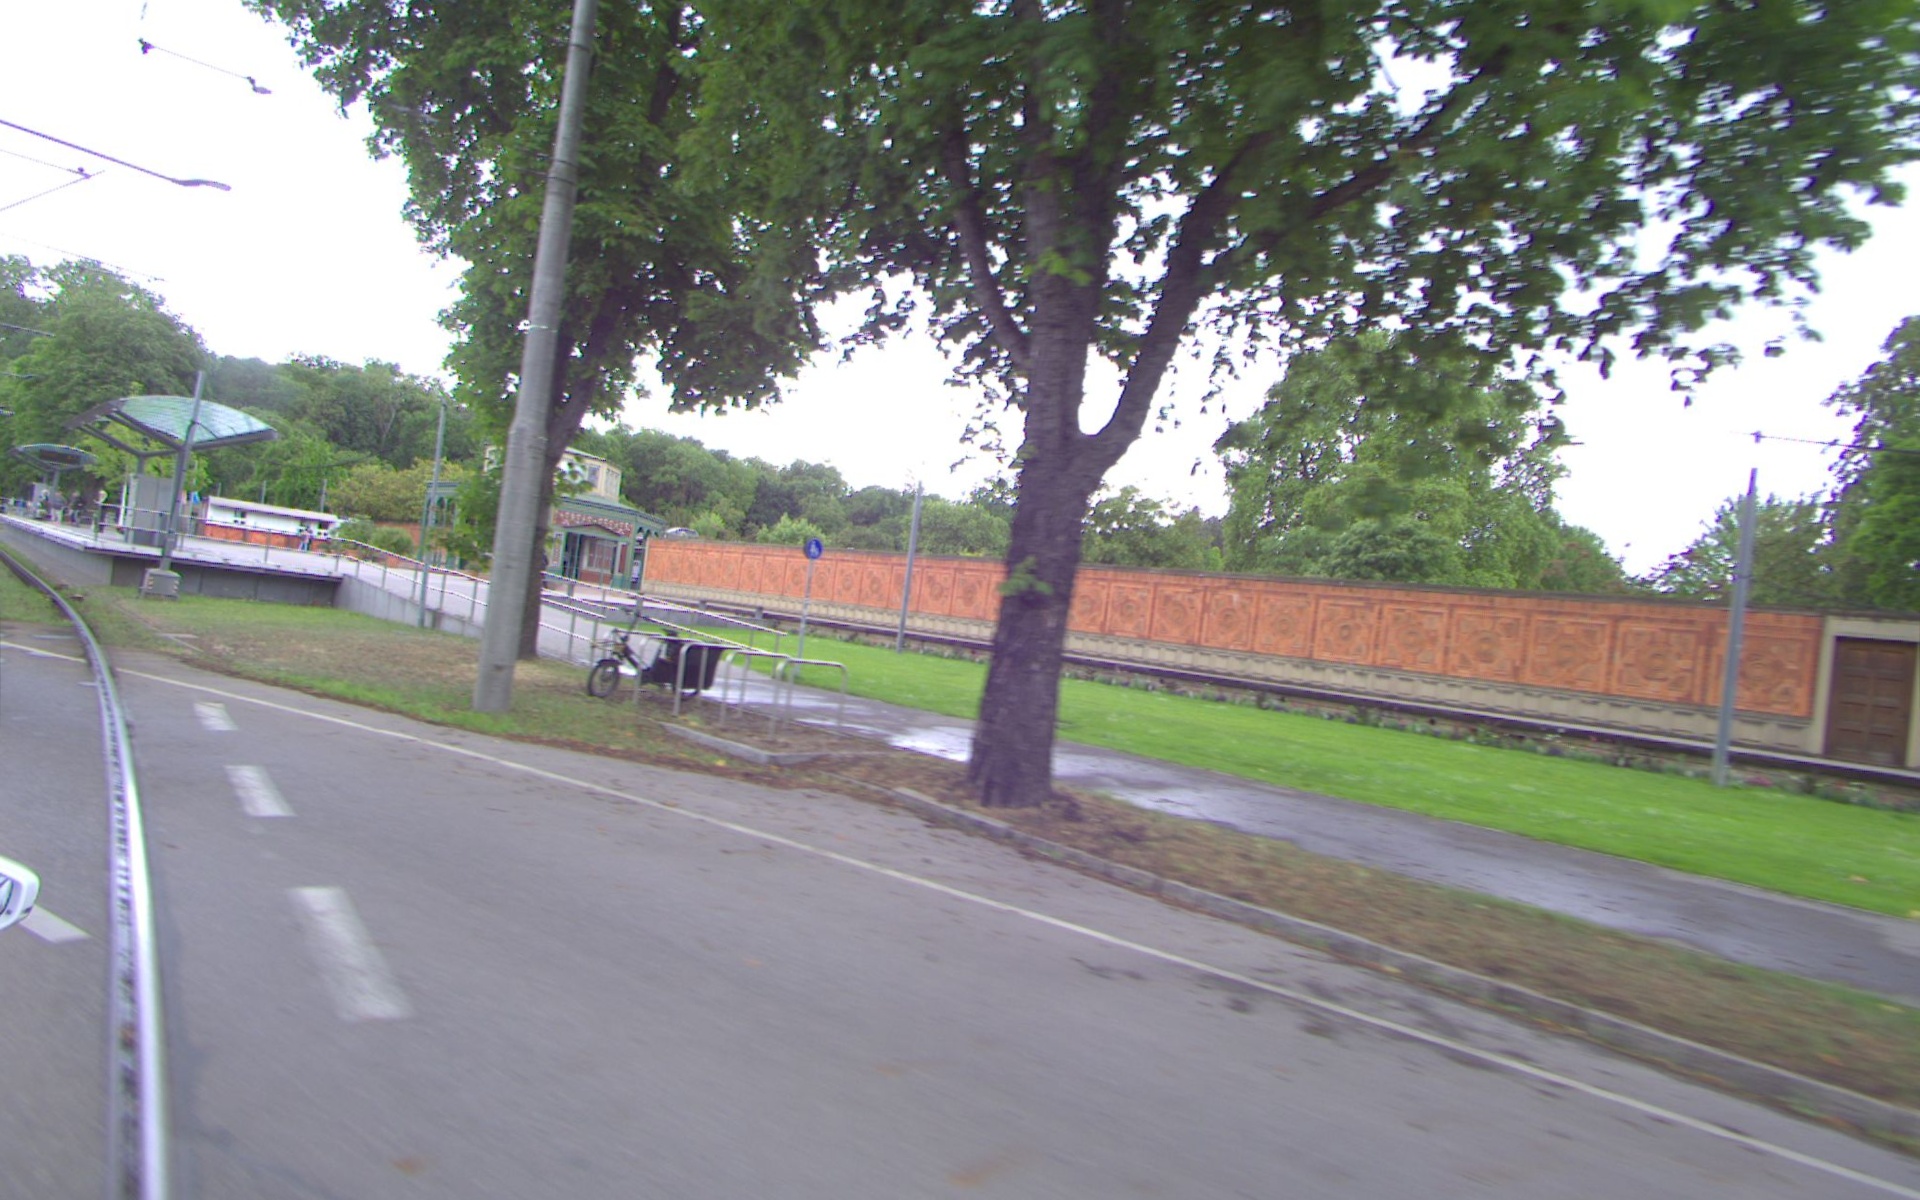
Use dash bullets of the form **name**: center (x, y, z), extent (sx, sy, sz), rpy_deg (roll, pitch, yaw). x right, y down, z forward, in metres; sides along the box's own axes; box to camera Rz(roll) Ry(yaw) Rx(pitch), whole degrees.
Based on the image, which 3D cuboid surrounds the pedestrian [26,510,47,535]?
- **pedestrian**: center (-54.633, -4.564, 59.508), extent (0.955, 1.338, 0.673), rpy_deg (6, -4, 43)

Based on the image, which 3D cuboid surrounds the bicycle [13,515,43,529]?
- **bicycle**: center (-85.729, -7.164, 92.525), extent (0.524, 0.987, 1.908), rpy_deg (6, -1, 44)

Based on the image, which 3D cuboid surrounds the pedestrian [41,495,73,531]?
- **pedestrian**: center (-47.322, -4.540, 52.717), extent (0.749, 1.695, 0.862), rpy_deg (6, -3, 34)

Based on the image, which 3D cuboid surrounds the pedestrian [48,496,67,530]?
- **pedestrian**: center (-46.542, -4.470, 51.873), extent (0.667, 1.637, 0.523), rpy_deg (5, -3, 45)

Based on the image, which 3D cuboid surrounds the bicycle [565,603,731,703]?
- **bicycle**: center (-4.300, 0.758, 13.978), extent (1.985, 1.171, 0.732), rpy_deg (8, -2, -42)

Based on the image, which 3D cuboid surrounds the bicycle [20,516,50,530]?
- **bicycle**: center (-83.090, -6.906, 90.386), extent (0.524, 0.906, 1.908), rpy_deg (6, -1, 44)

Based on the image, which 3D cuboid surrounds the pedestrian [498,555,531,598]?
- **pedestrian**: center (-13.934, -0.728, 31.444), extent (0.659, 1.214, 0.548), rpy_deg (6, -3, 37)

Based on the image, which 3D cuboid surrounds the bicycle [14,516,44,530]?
- **bicycle**: center (-84.546, -7.016, 91.372), extent (0.524, 0.987, 1.908), rpy_deg (6, -1, 44)

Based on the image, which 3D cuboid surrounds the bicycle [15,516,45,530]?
- **bicycle**: center (-84.054, -6.970, 90.964), extent (0.524, 0.987, 1.908), rpy_deg (6, -1, 44)

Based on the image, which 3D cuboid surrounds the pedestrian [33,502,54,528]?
- **pedestrian**: center (-48.099, -4.459, 52.781), extent (0.667, 1.204, 0.656), rpy_deg (5, -4, 45)

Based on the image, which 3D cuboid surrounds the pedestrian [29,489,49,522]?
- **pedestrian**: center (-50.669, -5.214, 55.327), extent (0.666, 1.695, 0.544), rpy_deg (6, -3, 40)

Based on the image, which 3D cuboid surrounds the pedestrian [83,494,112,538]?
- **pedestrian**: center (-36.014, -3.496, 42.024), extent (0.855, 1.705, 0.632), rpy_deg (6, -3, 44)

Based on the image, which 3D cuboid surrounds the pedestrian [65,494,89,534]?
- **pedestrian**: center (-44.158, -4.304, 50.302), extent (0.938, 1.858, 0.632), rpy_deg (5, -3, 45)

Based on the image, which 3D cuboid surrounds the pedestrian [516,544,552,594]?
- **pedestrian**: center (-17.173, -1.251, 40.558), extent (0.935, 1.858, 0.550), rpy_deg (8, -2, -3)

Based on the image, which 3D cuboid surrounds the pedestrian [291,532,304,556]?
- **pedestrian**: center (-44.872, -3.805, 68.133), extent (0.484, 1.503, 0.454), rpy_deg (10, -3, -43)
